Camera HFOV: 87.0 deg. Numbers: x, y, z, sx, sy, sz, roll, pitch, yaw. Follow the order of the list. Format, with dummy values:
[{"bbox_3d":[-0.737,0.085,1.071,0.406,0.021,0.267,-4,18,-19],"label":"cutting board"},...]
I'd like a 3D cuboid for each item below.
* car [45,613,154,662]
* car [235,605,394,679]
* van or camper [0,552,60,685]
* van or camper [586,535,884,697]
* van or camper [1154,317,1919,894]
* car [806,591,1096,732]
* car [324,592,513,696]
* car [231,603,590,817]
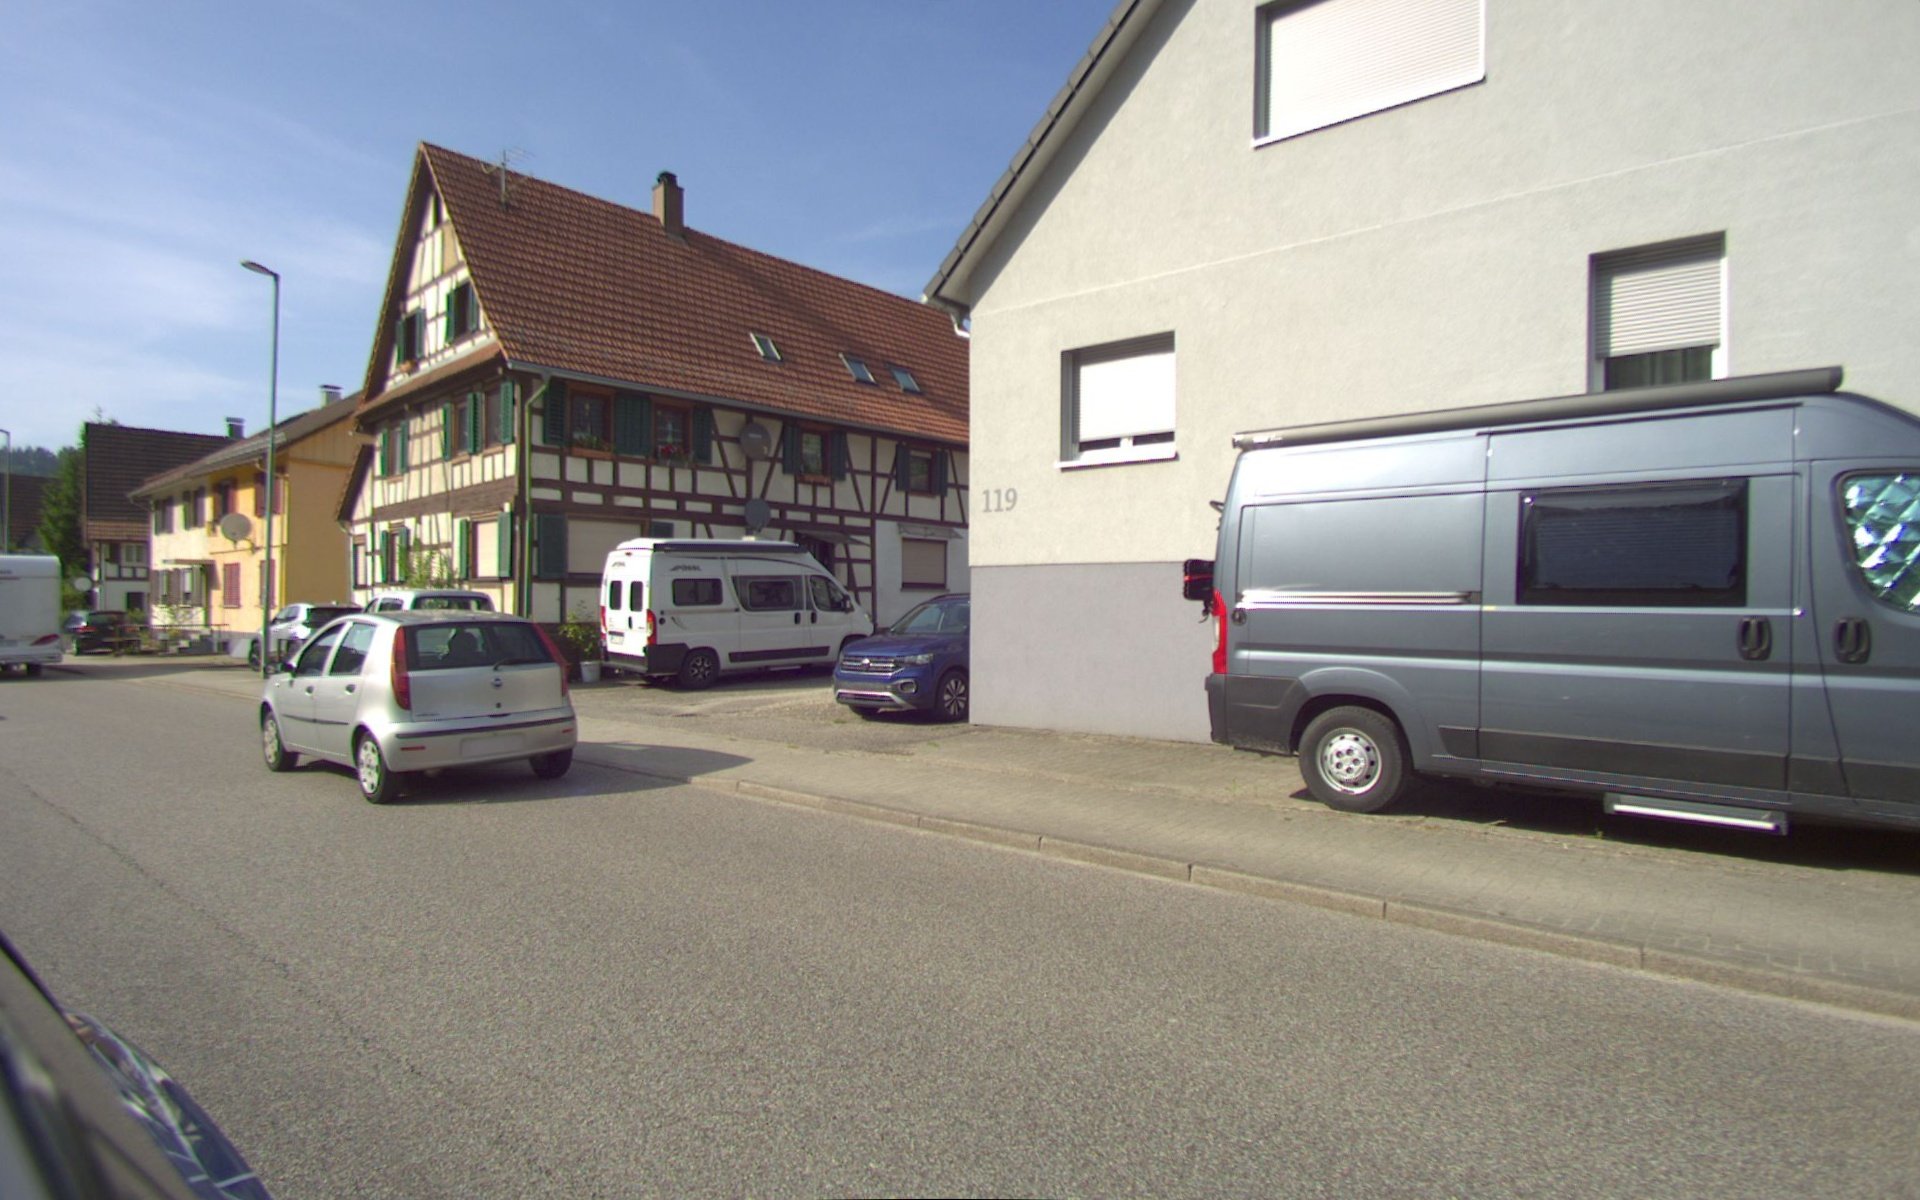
[{"bbox_3d":[-29.144,1.226,34.248,4.227,1.530,1.868,-1,0,36],"label":"car"},{"bbox_3d":[-14.698,0.923,22.960,4.090,1.530,1.865,-1,-2,40],"label":"car"},{"bbox_3d":[-24.086,0.475,24.639,7.119,2.961,2.173,-1,-1,40],"label":"van or camper"},{"bbox_3d":[-4.155,0.224,19.316,5.114,2.683,2.195,-1,0,-43],"label":"van or camper"},{"bbox_3d":[4.269,0.042,5.953,5.899,2.575,2.125,-1,-1,42],"label":"van or camper"},{"bbox_3d":[-0.004,0.728,13.911,1.905,1.561,3.879,-1,1,40],"label":"car"},{"bbox_3d":[-10.071,0.732,18.672,4.268,1.677,1.879,-1,0,44],"label":"car"},{"bbox_3d":[-5.064,0.803,9.076,3.999,1.496,1.613,-1,-1,42],"label":"car"}]
